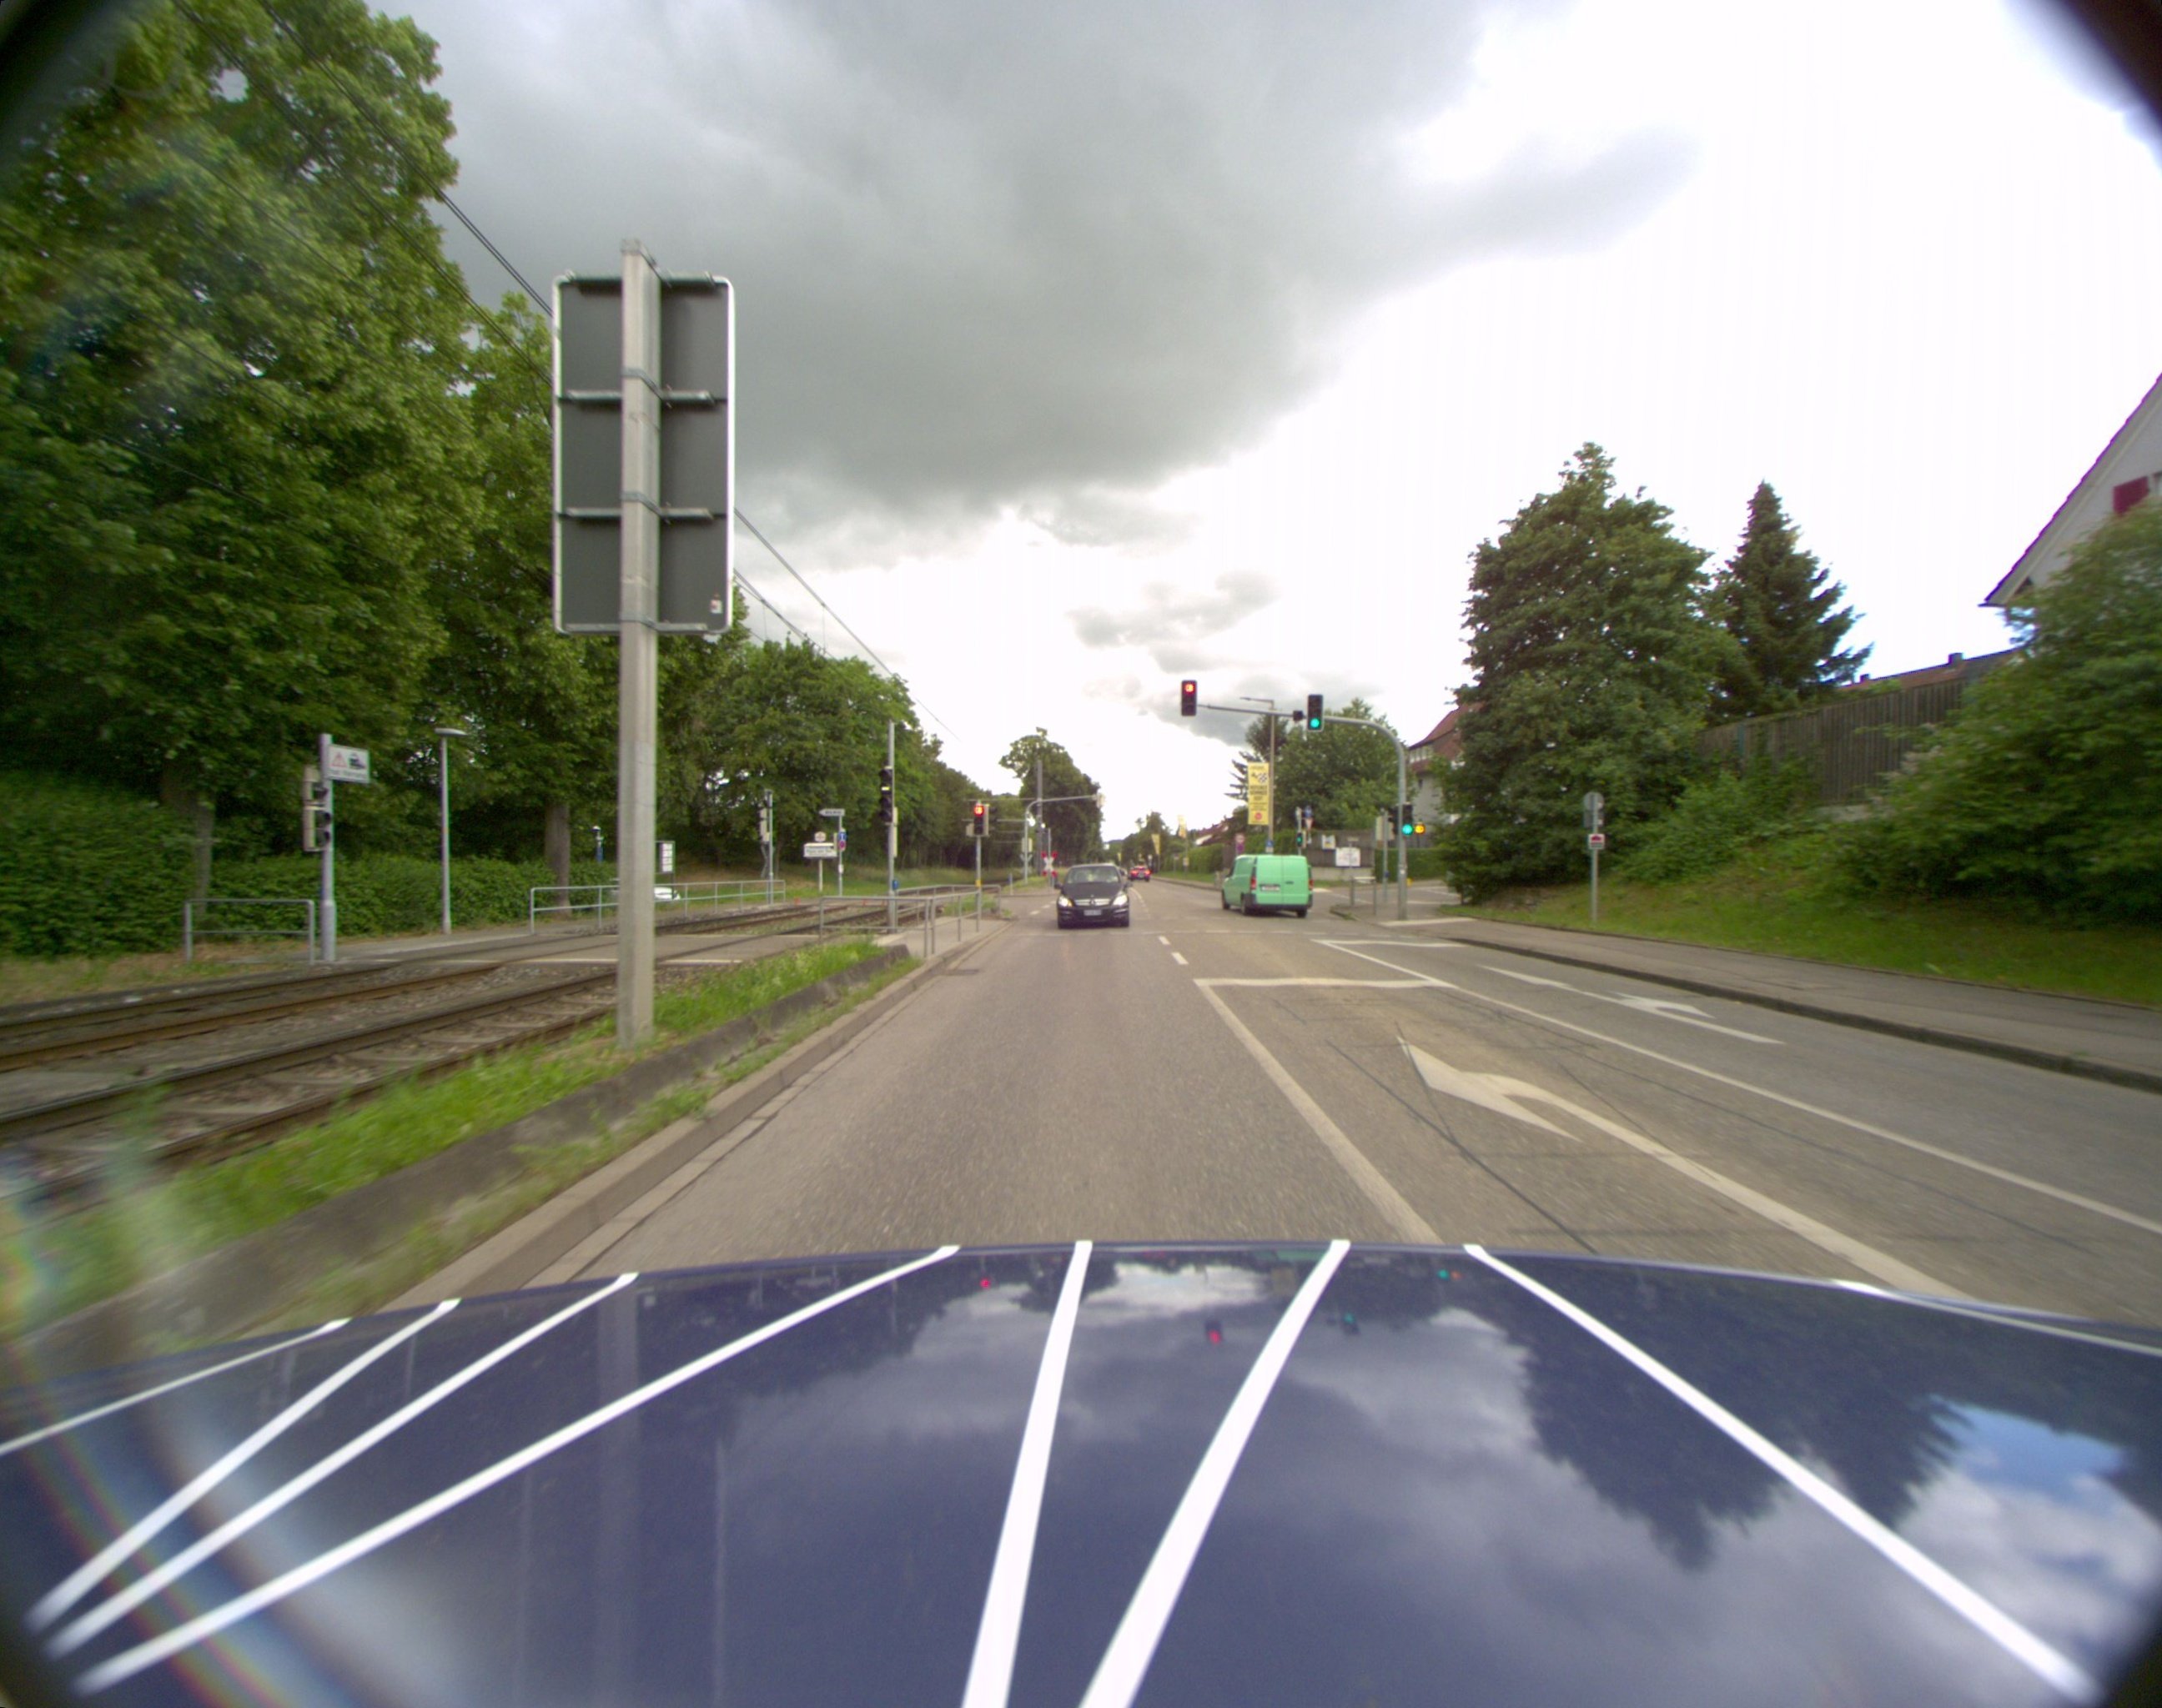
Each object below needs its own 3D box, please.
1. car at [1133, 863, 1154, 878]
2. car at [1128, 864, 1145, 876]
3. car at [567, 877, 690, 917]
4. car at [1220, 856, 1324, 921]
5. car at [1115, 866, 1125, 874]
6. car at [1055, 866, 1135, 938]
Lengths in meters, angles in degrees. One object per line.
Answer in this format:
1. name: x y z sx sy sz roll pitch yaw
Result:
1. car: 6.681 1.716 81.565 1.904 1.569 4.279 1 -1 1
2. car: 6.882 1.965 94.463 1.880 1.501 4.208 1 -1 1
3. car: -18.798 1.754 31.692 3.997 1.376 1.785 -3 0 -1
4. car: 5.848 1.000 23.922 2.064 1.799 4.730 2 -1 0
5. car: 8.218 3.379 159.015 1.904 1.569 4.122 1 -1 1
6. car: 0.334 1.099 18.905 1.749 1.558 4.122 1 -1 1
